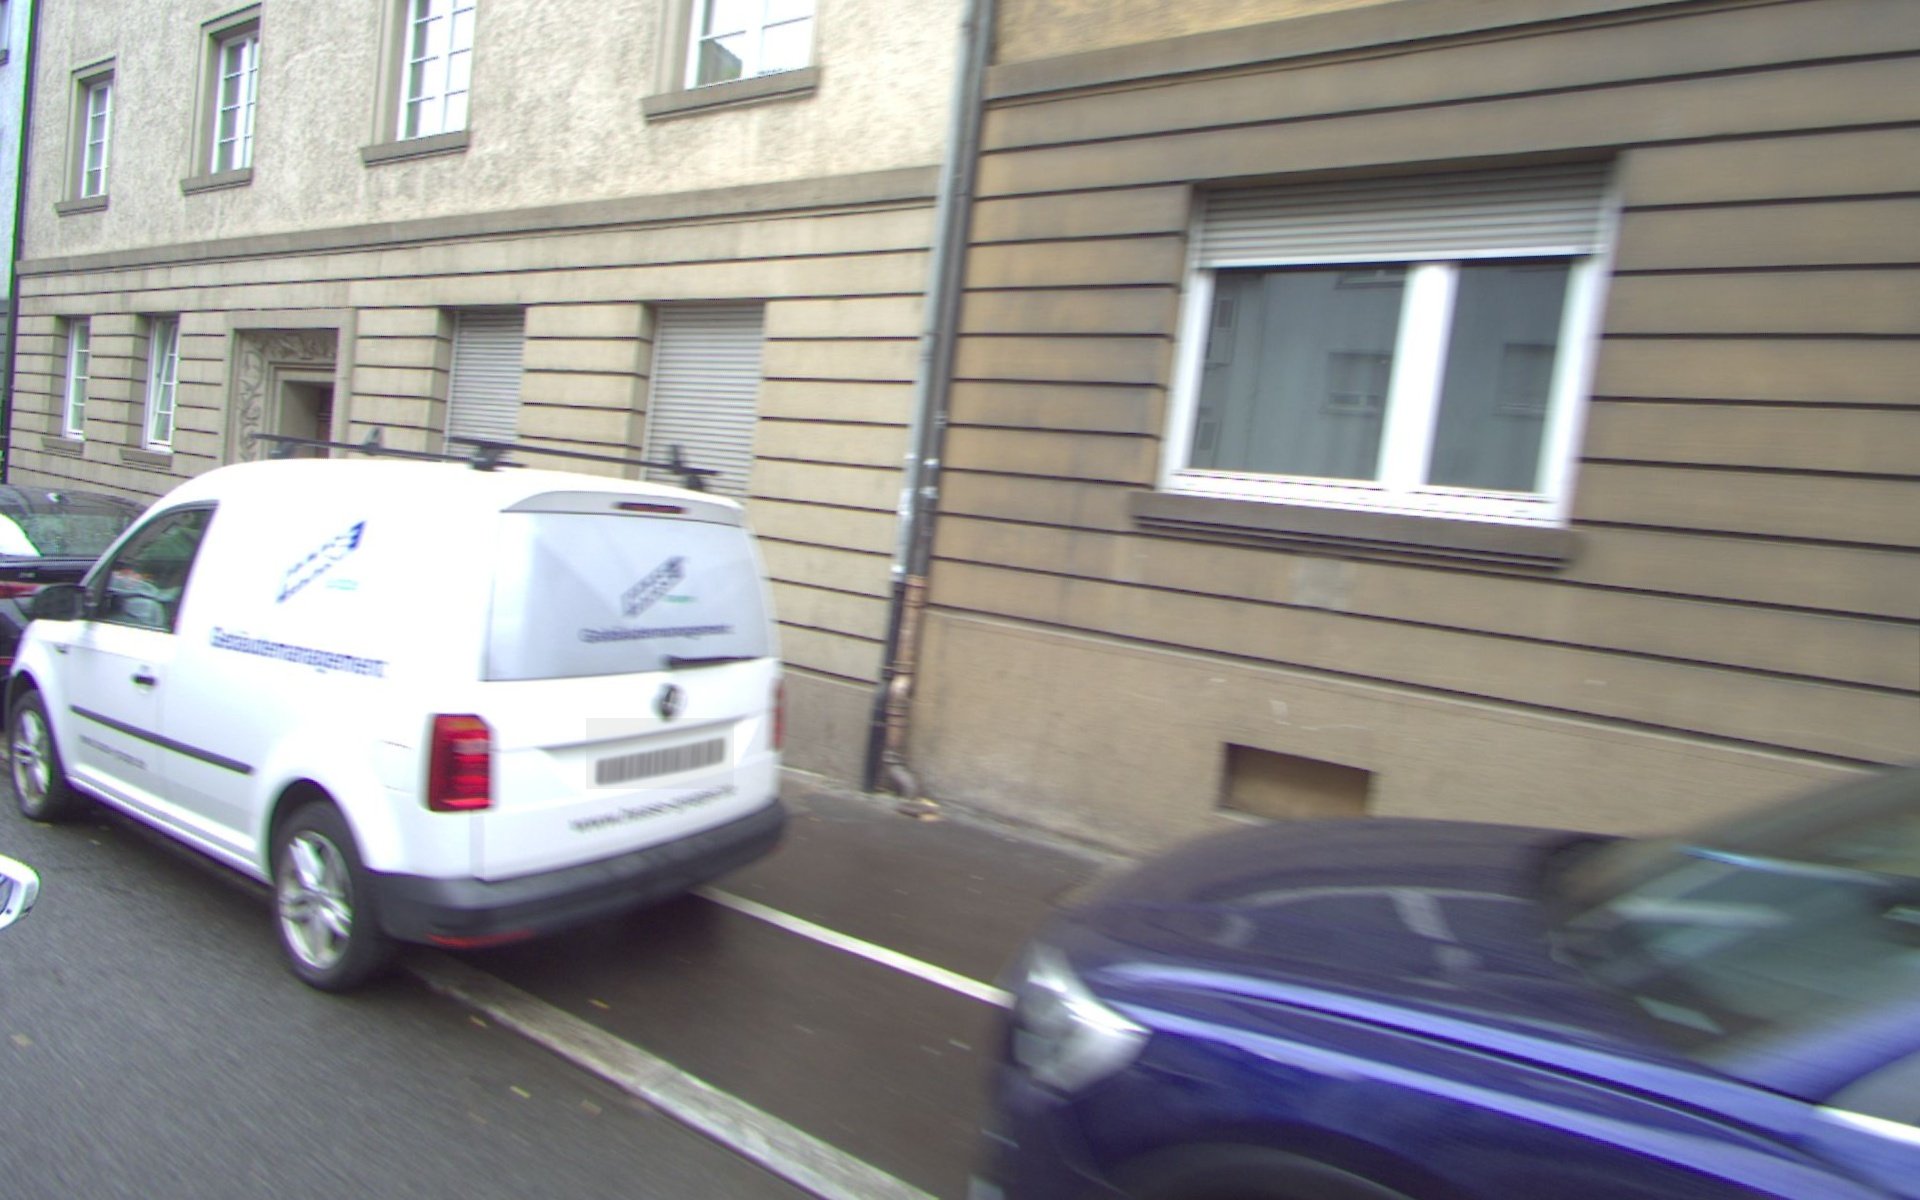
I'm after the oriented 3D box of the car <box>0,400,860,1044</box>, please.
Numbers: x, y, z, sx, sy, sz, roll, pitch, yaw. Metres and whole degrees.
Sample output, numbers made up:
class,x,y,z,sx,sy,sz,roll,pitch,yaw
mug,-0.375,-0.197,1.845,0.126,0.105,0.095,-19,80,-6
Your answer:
class,x,y,z,sx,sy,sz,roll,pitch,yaw
car,-2.675,0.173,4.677,4.011,1.842,1.790,7,4,31

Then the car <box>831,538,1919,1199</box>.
class,x,y,z,sx,sy,sz,roll,pitch,yaw
car,2.015,0.907,1.512,4.155,1.569,1.790,7,3,32

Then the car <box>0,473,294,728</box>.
class,x,y,z,sx,sy,sz,roll,pitch,yaw
car,-7.037,-0.195,7.403,4.313,1.429,1.840,7,4,30
